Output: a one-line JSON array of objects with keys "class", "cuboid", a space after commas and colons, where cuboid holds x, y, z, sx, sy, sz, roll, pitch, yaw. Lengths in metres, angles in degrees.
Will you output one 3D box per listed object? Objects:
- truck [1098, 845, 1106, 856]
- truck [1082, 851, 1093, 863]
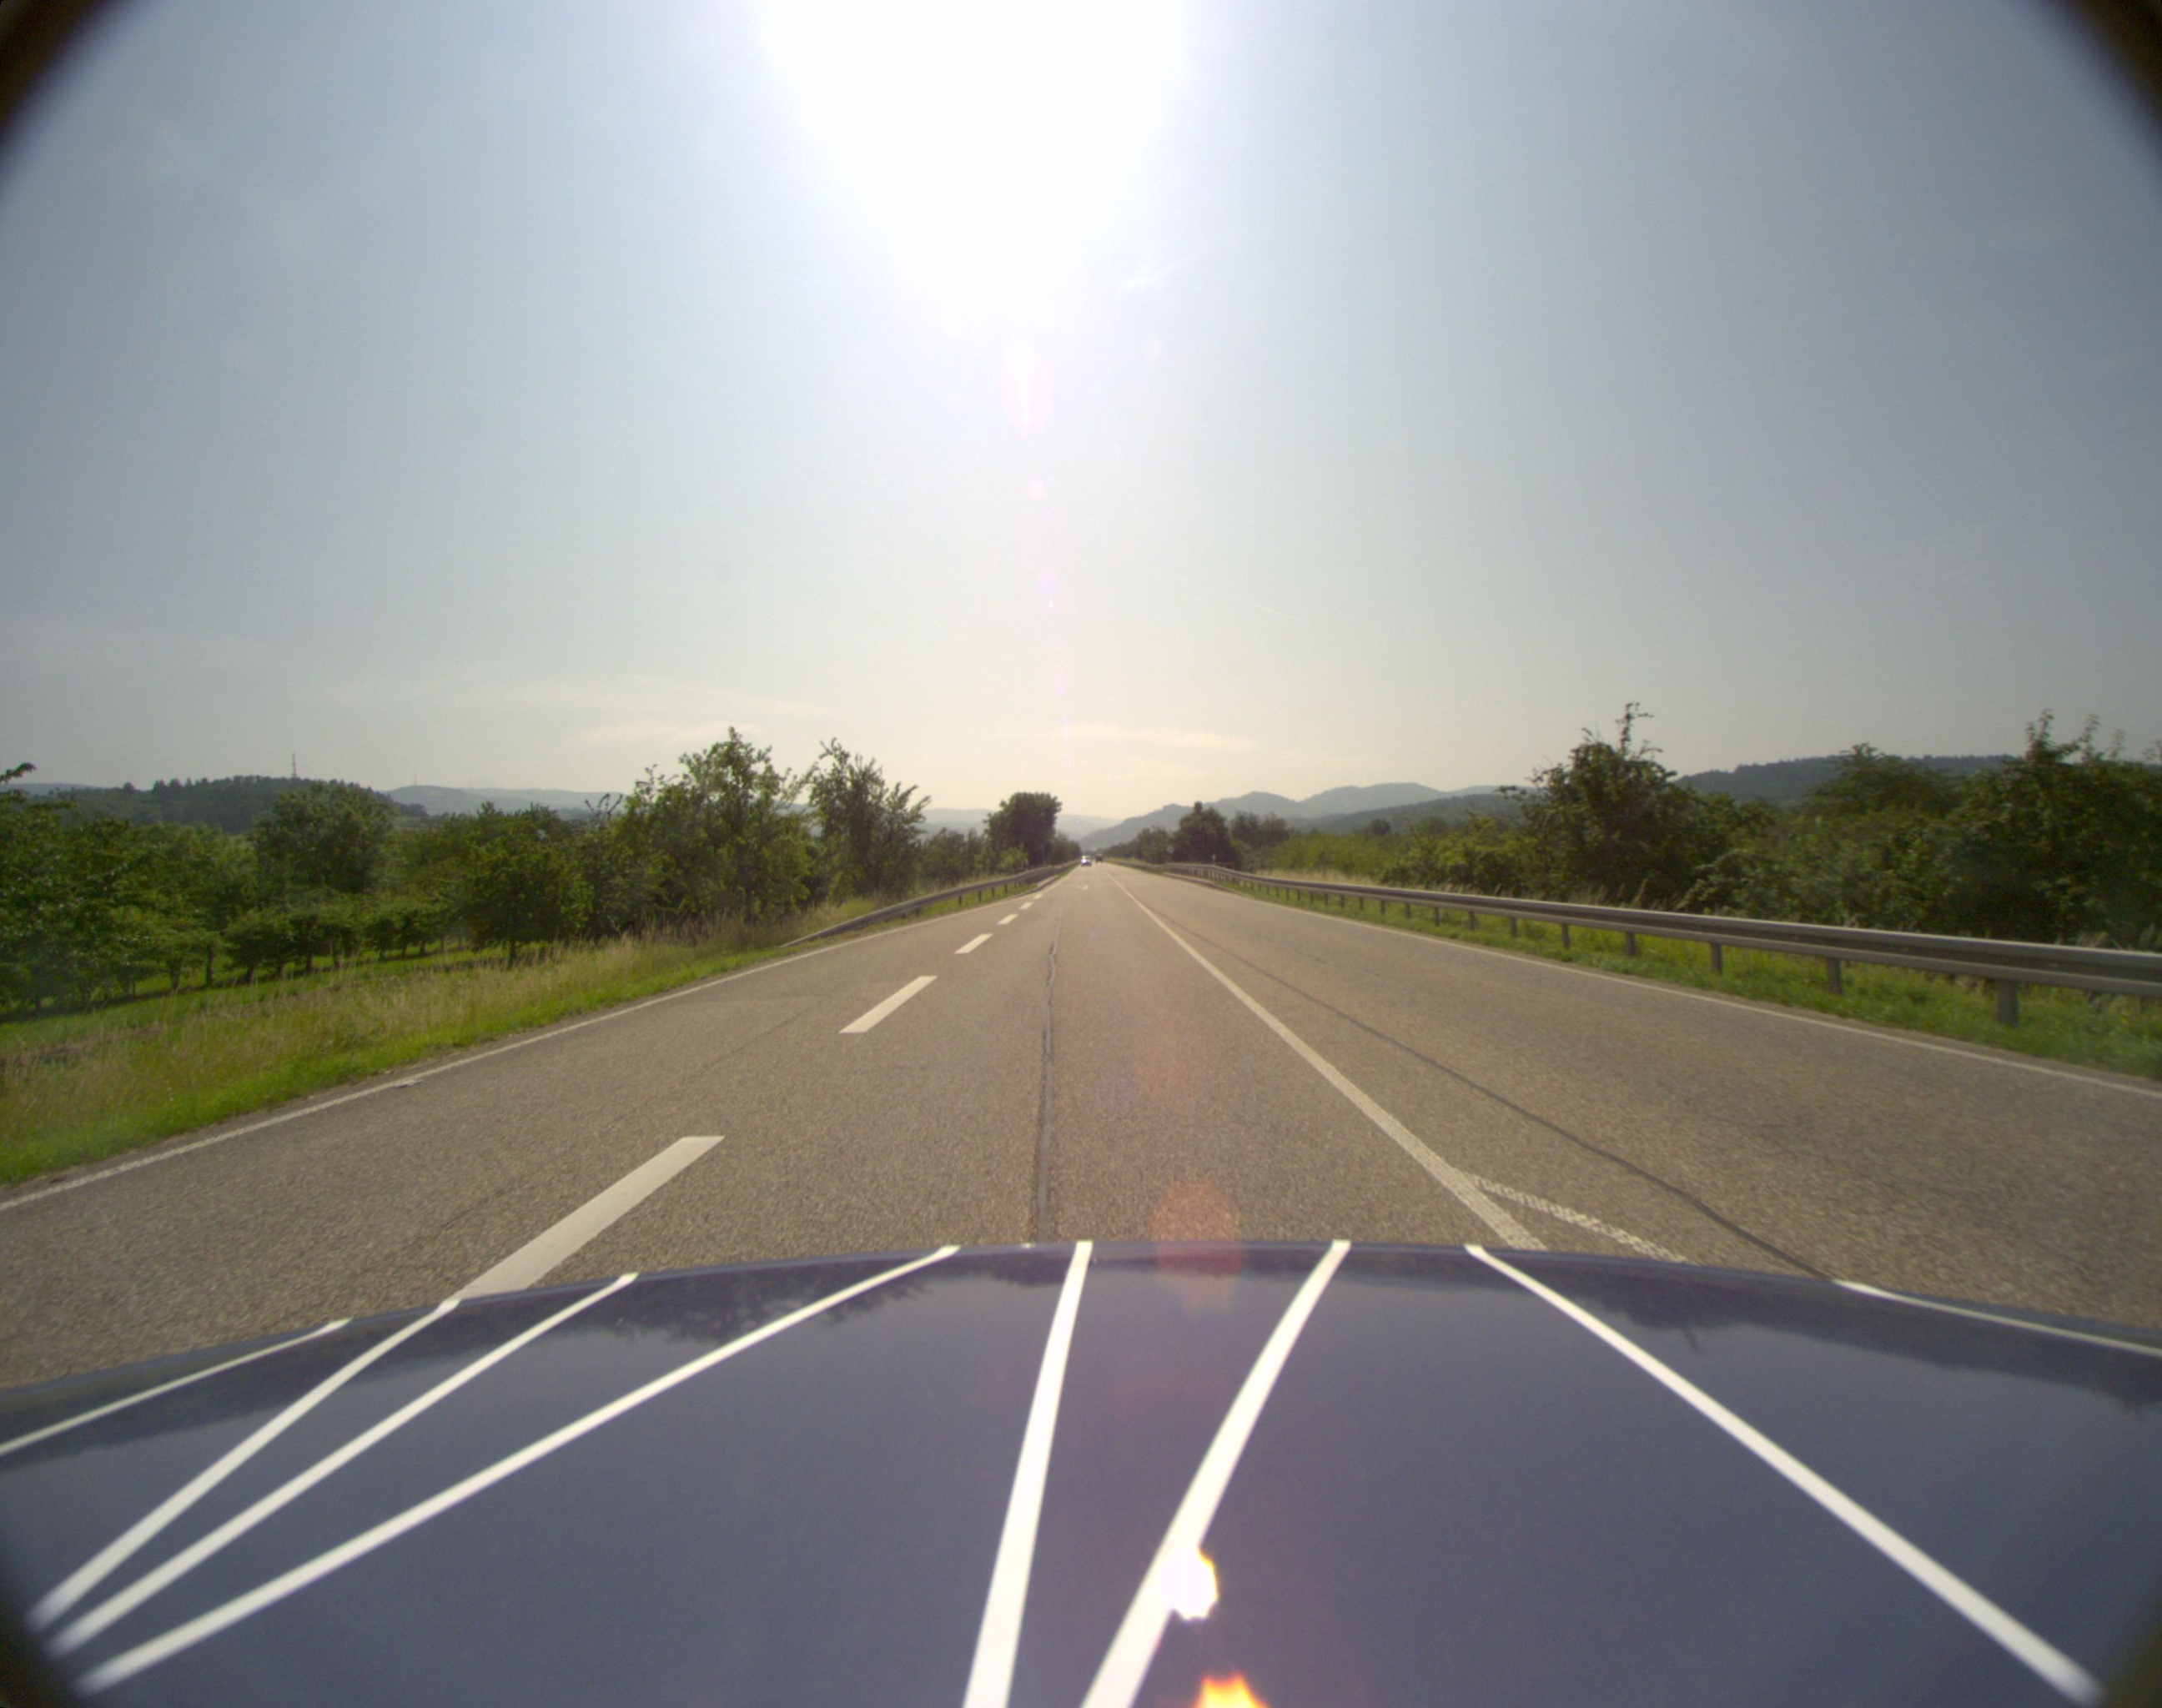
[{"class": "truck", "cuboid": [7.427, -1.227, 266.792, 2.735, 3.650, 9.382, -1, 1, 1]}, {"class": "truck", "cuboid": [1.277, 0.586, 144.754, 2.031, 2.232, 4.765, -1, 1, 1]}]
